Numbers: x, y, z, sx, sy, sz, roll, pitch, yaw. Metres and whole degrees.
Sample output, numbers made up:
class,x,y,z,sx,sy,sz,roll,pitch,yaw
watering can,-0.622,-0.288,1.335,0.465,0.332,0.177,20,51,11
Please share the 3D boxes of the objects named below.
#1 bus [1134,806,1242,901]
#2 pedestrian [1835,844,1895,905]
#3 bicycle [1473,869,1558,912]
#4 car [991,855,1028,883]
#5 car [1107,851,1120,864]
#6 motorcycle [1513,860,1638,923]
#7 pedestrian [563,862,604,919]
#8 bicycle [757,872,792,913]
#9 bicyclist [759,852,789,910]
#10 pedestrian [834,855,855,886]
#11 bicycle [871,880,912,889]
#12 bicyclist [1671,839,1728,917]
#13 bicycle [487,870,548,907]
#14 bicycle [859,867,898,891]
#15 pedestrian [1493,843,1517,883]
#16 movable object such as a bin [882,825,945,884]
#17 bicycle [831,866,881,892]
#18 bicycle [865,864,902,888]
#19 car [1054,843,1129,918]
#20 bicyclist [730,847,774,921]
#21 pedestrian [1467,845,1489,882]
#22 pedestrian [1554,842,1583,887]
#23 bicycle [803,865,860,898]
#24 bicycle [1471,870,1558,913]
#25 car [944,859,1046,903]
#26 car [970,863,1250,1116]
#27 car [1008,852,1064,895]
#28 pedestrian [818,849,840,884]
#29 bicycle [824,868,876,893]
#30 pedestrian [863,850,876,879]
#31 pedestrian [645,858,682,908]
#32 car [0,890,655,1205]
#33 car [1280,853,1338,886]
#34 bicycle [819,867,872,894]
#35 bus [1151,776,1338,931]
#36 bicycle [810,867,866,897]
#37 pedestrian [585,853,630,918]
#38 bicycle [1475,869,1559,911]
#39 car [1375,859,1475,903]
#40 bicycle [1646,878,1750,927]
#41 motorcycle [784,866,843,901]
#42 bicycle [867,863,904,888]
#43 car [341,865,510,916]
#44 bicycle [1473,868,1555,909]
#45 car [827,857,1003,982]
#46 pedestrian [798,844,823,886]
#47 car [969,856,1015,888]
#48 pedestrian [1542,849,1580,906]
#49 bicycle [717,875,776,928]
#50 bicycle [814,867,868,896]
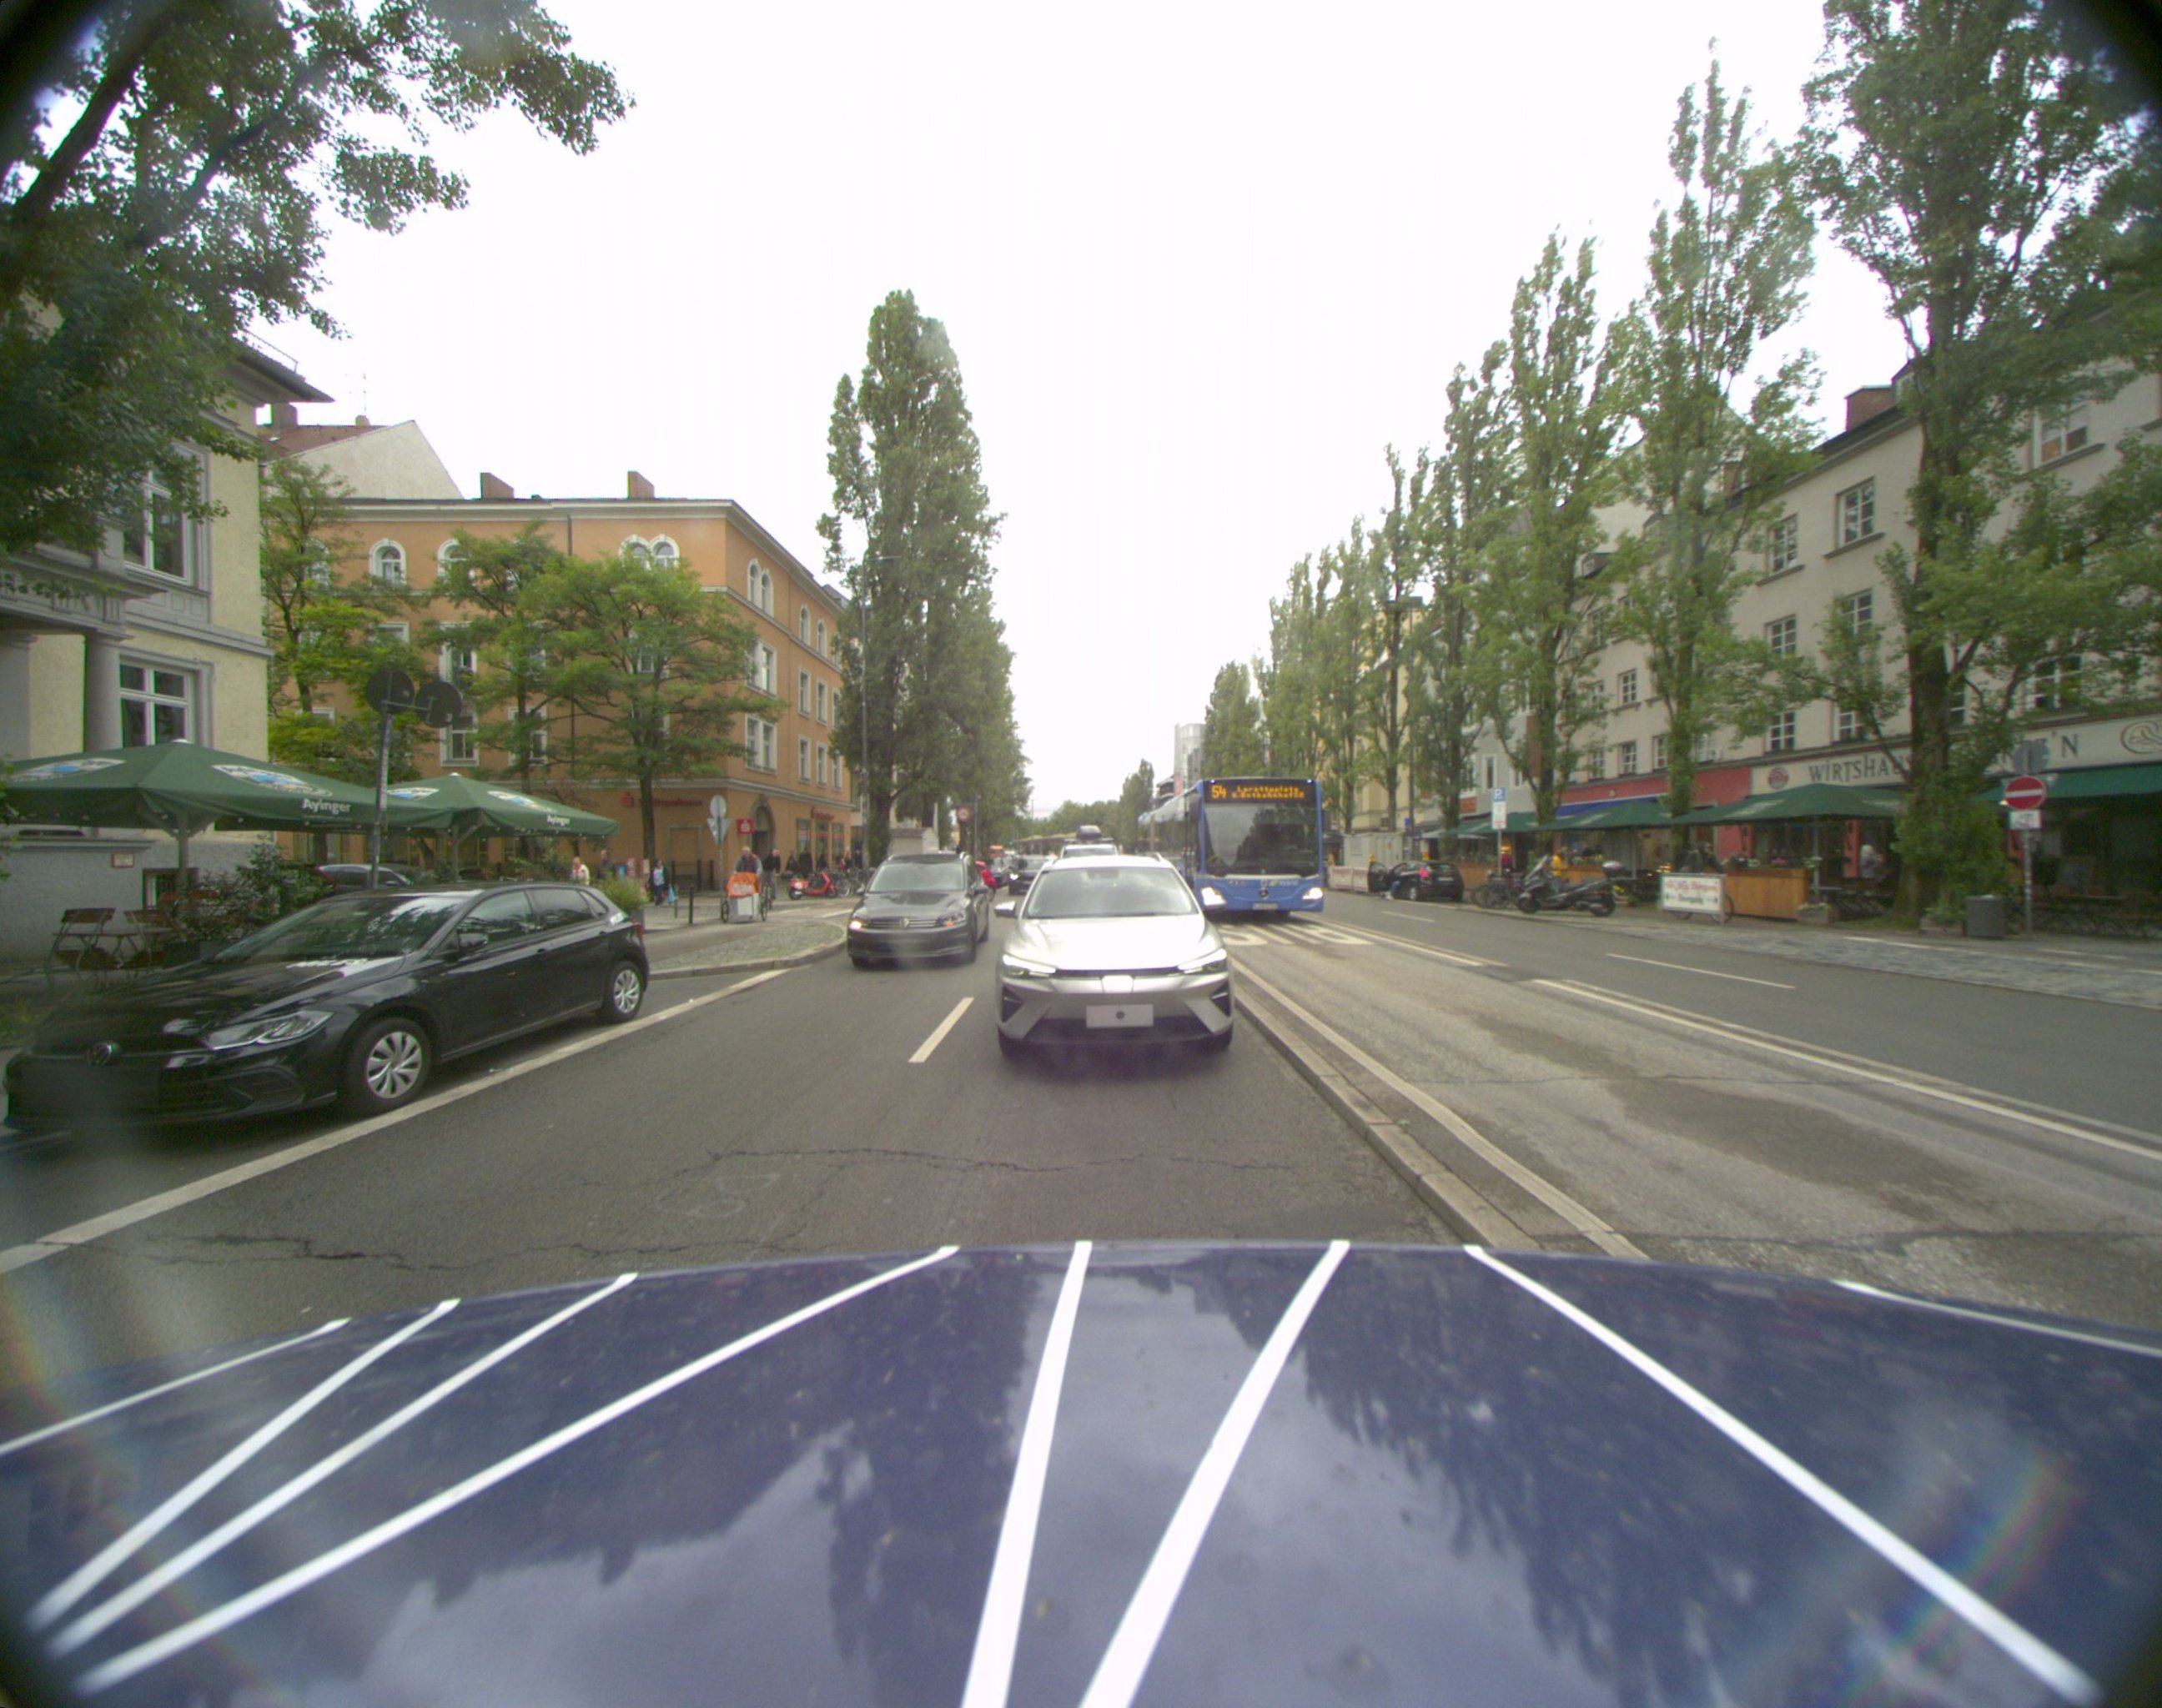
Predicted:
class,x,y,z,sx,sy,sz,roll,pitch,yaw
bus,3.656,-0.035,28.502,2.690,2.932,10.052,0,0,0
pedestrian,21.489,0.552,20.844,0.699,1.637,0.929,0,1,6
bicycle,11.789,0.990,20.672,1.976,1.119,0.283,-1,1,37
car,-4.359,0.884,46.709,1.789,1.604,4.498,-2,0,0
car,5.027,0.484,118.428,1.998,2.002,4.000,0,0,1
motorcycle,11.974,0.867,18.511,0.747,1.406,2.448,0,0,-33
pedestrian,-14.054,1.014,21.481,0.699,1.562,0.575,-2,1,3
bicycle,-9.089,1.115,22.506,0.739,1.113,2.097,-1,0,-28
bicyclist,-9.099,0.778,22.508,0.742,1.677,0.747,-1,1,-28
pedestrian,-12.038,0.828,38.671,0.745,1.562,0.614,-2,1,3
bicycle,-8.507,1.382,34.123,1.677,0.371,0.830,1,0,-7
bicyclist,13.729,0.521,16.875,0.606,1.695,0.816,-1,1,2
bicycle,-22.064,1.353,29.768,1.945,1.364,0.561,-2,1,1
bicycle,-8.885,1.100,33.369,1.602,1.004,0.342,-1,1,-6
pedestrian,20.305,0.419,36.389,0.699,1.915,0.905,0,1,4
movable object such as a bin,-9.366,0.000,42.937,2.445,3.119,4.543,1,0,1
bicycle,-9.443,1.049,31.894,1.945,1.078,0.561,-1,1,1
bicycle,-9.144,1.006,35.200,1.610,1.078,0.321,-1,1,-22
car,0.275,0.640,21.839,1.839,1.831,5.129,-2,1,0
bicyclist,-7.905,0.705,18.263,0.831,1.747,0.666,-1,1,-13
pedestrian,20.466,0.481,39.165,0.699,1.915,0.905,0,1,4
pedestrian,21.123,0.441,32.943,0.699,1.915,0.905,0,1,4
bicycle,-9.351,1.026,28.503,1.945,1.232,0.561,-1,1,1
bicycle,11.598,0.994,20.388,1.976,1.119,0.361,-1,1,37
car,-3.114,0.950,28.189,1.613,1.425,4.011,-1,0,31
car,0.193,0.897,6.894,1.742,1.510,4.033,-2,0,0
car,-1.851,0.772,32.462,1.705,1.683,4.005,-1,0,6
pedestrian,-12.014,0.594,36.213,0.746,1.651,0.771,-2,1,-1
bicycle,-9.452,1.082,31.145,1.945,1.004,0.561,-1,1,1
pedestrian,-12.906,0.639,46.361,0.634,1.684,0.574,-2,1,-5
pedestrian,-13.648,0.943,24.849,0.745,1.562,0.664,-2,1,3
car,-5.238,1.088,5.867,1.698,1.408,3.950,-1,0,-1
car,12.141,0.782,40.684,1.802,1.603,4.574,0,0,1
bicycle,-9.466,1.060,30.541,1.945,1.069,0.561,-1,1,1
bus,3.588,-0.023,19.491,2.696,2.932,10.052,0,0,0
bicycle,-9.312,1.066,29.147,1.945,1.130,0.561,-1,1,1
pedestrian,-13.098,0.855,21.026,0.699,1.756,0.732,-2,1,4
bicycle,11.963,0.981,20.896,1.976,1.119,0.283,-1,1,37
car,12.245,0.924,27.331,1.760,1.414,3.784,1,0,-2
bicycle,13.736,1.048,17.007,0.613,0.963,2.174,-1,0,1
motorcycle,-9.699,1.046,27.541,1.963,1.214,0.514,-1,1,-25
bicycle,-8.988,0.986,34.869,1.604,1.078,0.341,-1,1,-22
car,-22.254,1.211,25.914,3.997,1.511,1.906,-2,1,-1
bicycle,12.272,0.974,21.587,1.976,1.119,0.343,-1,1,37
car,-2.433,0.888,12.259,1.882,1.582,4.192,-2,0,0
pedestrian,-12.793,0.489,35.945,0.840,1.937,0.801,-2,1,-5
car,-4.610,0.906,39.925,1.789,1.544,4.498,-2,0,0
pedestrian,14.846,0.716,23.514,0.731,1.716,0.700,0,1,-1
bicycle,-7.840,1.077,17.916,0.888,1.113,2.099,-1,0,-13
bicycle,-9.406,1.069,29.797,1.945,1.082,0.561,-1,1,1
